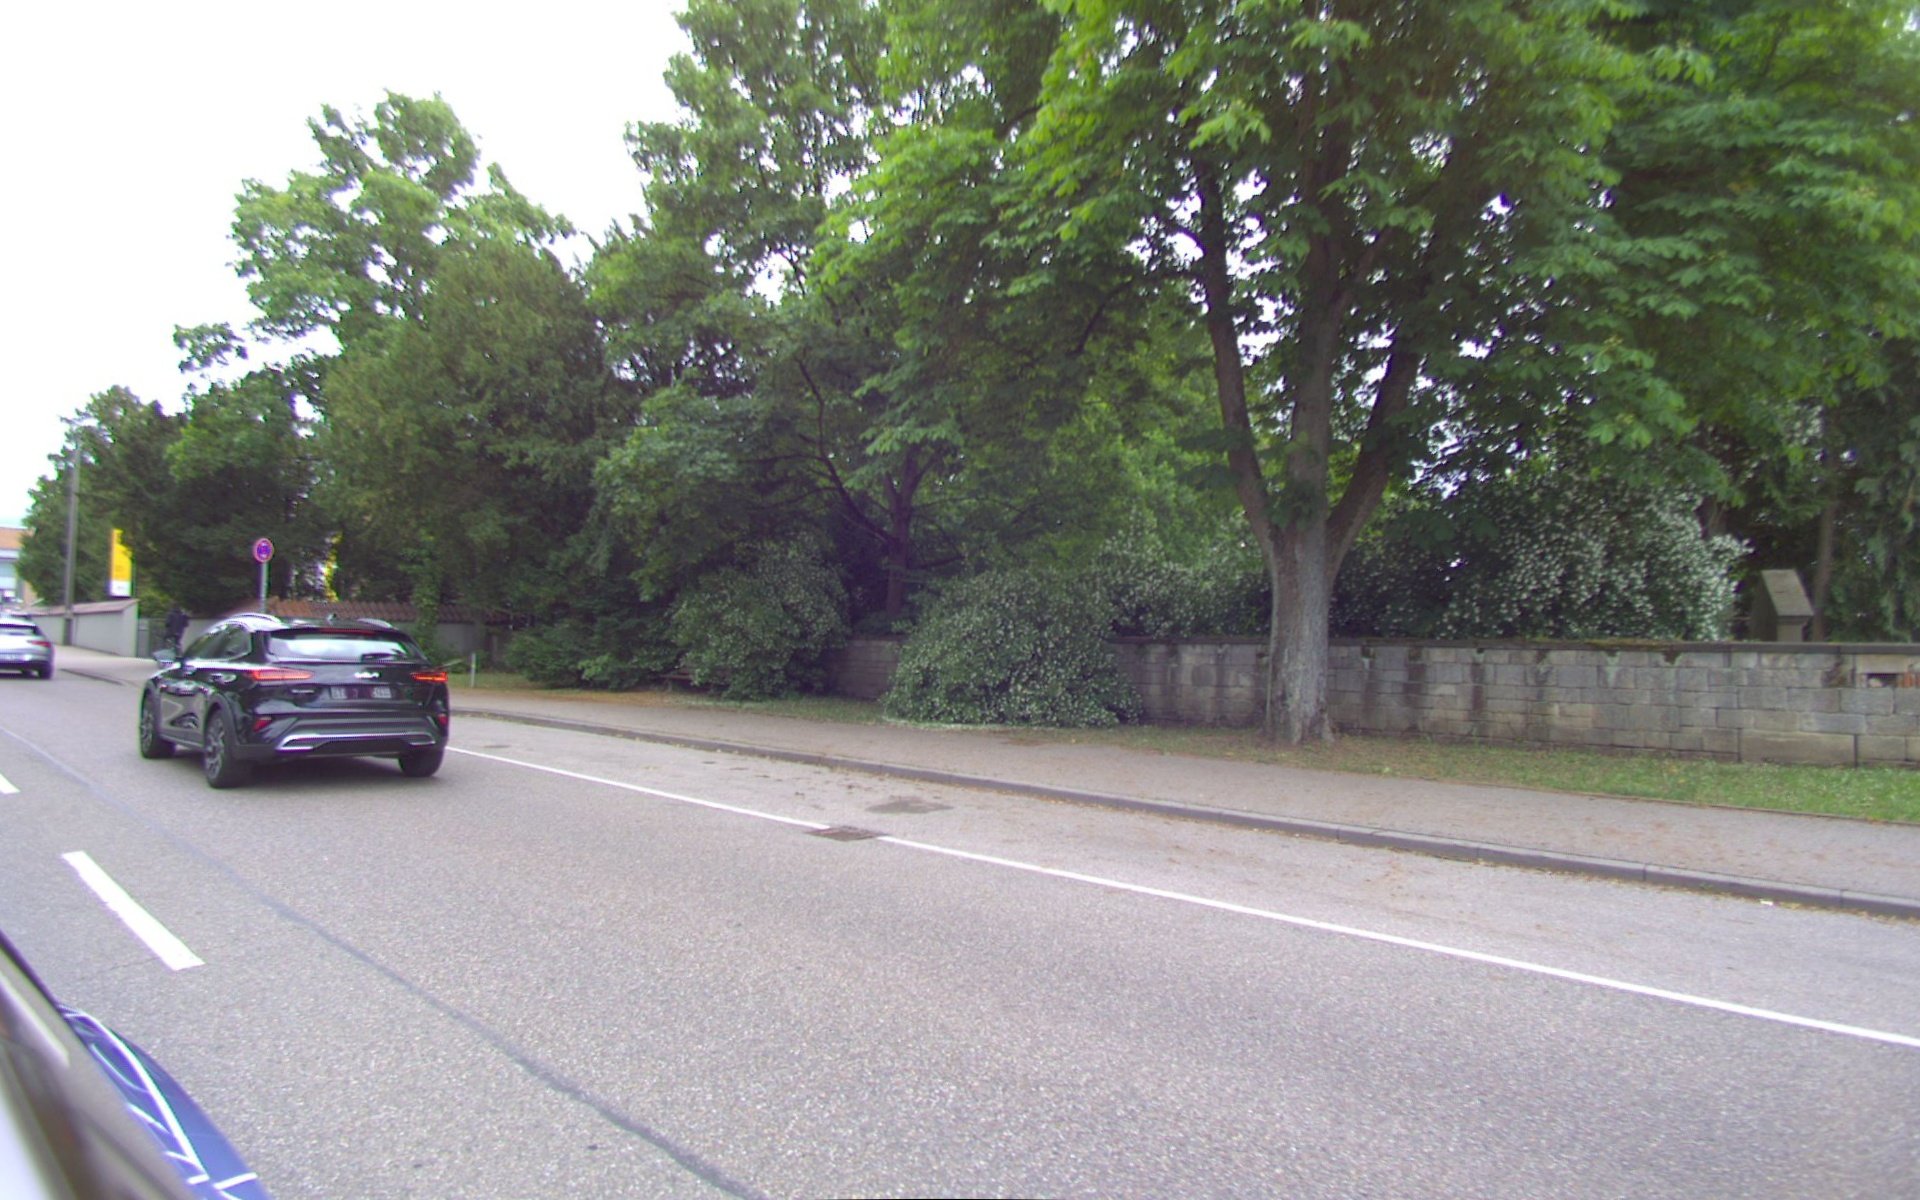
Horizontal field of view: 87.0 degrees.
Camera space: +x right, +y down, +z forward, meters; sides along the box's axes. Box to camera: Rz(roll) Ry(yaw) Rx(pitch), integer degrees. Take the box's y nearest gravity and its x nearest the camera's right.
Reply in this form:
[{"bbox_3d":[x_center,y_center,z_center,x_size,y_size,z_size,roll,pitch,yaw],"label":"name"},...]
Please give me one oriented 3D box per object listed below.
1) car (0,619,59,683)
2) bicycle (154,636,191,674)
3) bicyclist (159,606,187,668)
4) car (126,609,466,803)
[{"bbox_3d":[-23.388,1.167,24.413,4.410,1.413,1.739,0,-4,39],"label":"car"},{"bbox_3d":[-22.022,1.521,28.295,1.748,0.971,0.490,0,1,42],"label":"bicycle"},{"bbox_3d":[-21.957,1.019,28.225,0.588,1.697,0.482,-1,0,41],"label":"bicyclist"},{"bbox_3d":[-6.556,0.890,9.827,3.998,1.495,1.683,0,-4,41],"label":"car"}]
